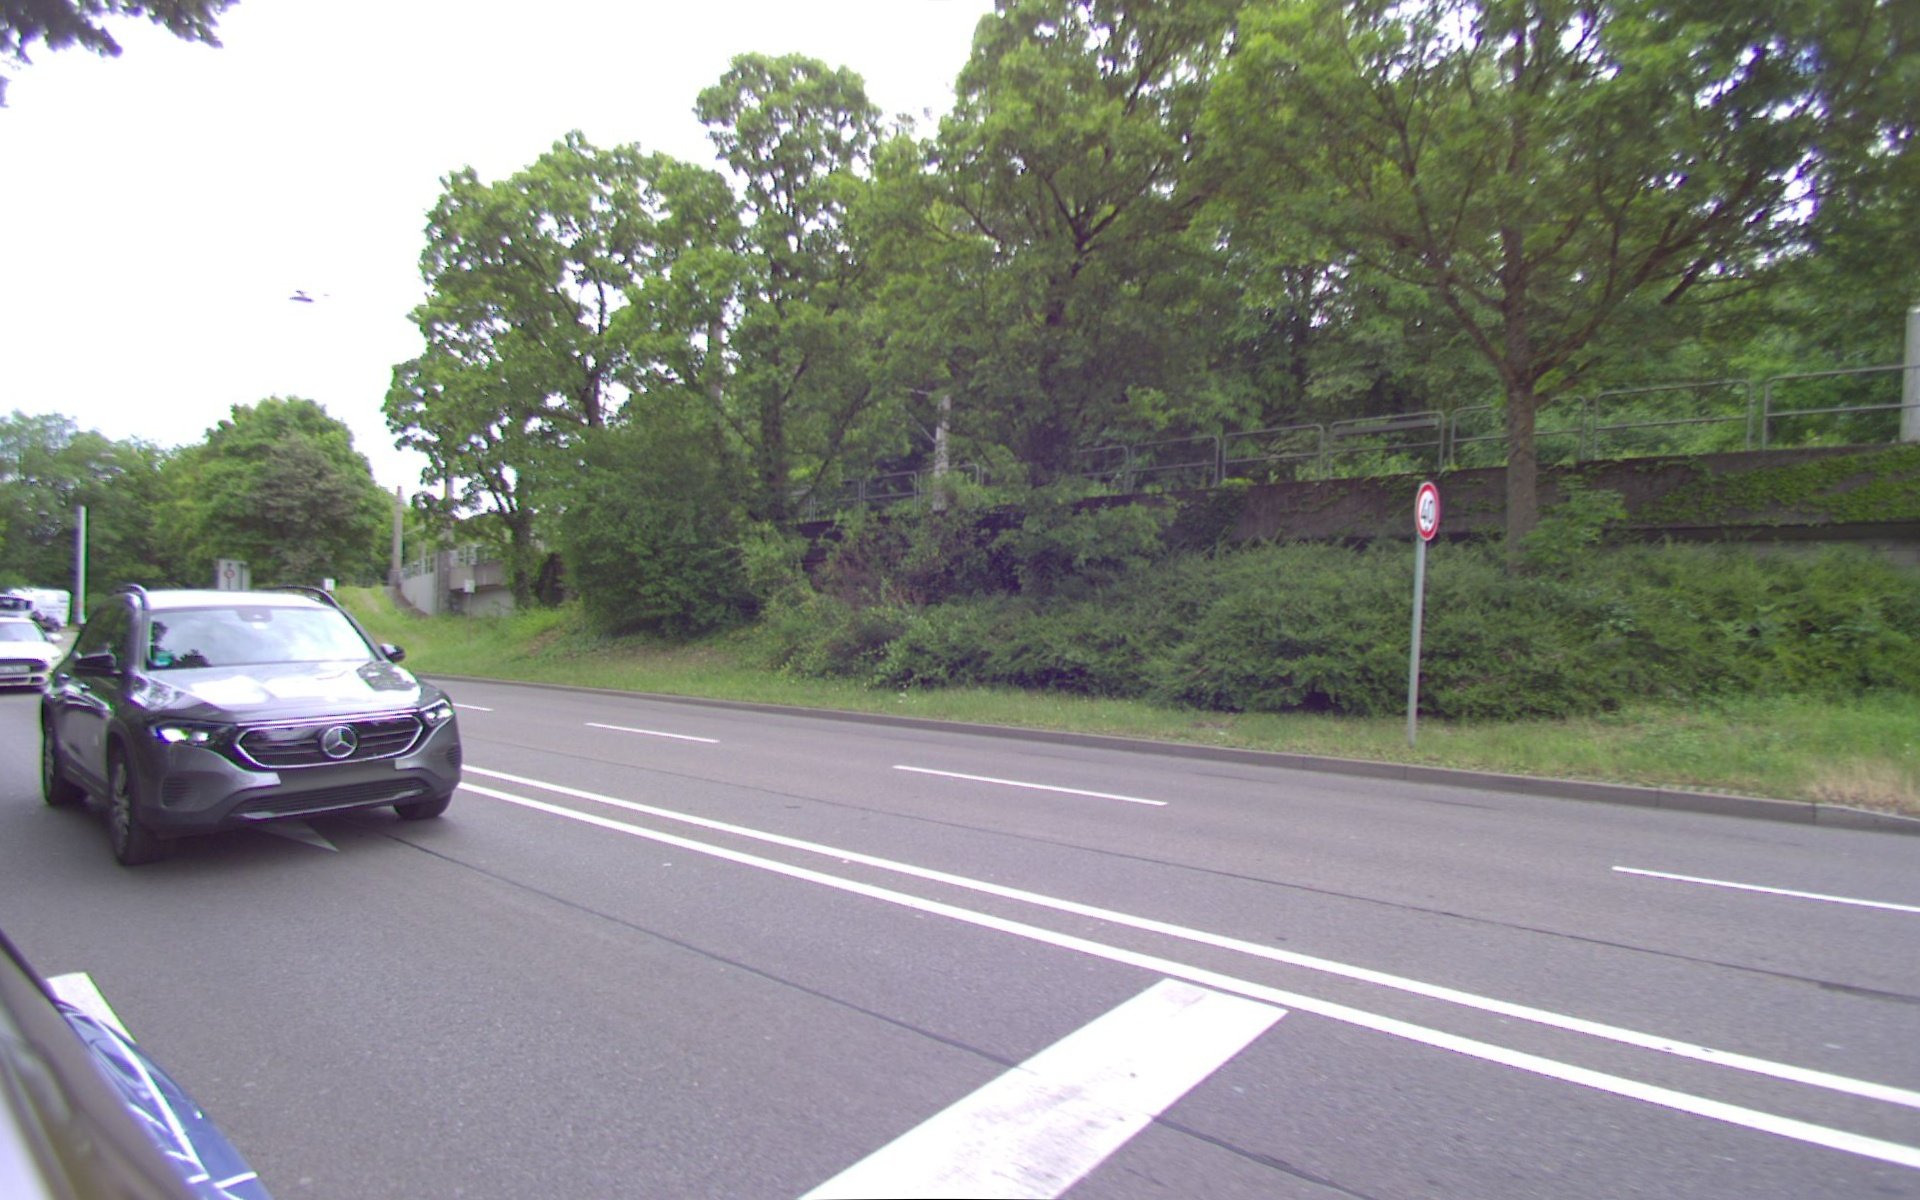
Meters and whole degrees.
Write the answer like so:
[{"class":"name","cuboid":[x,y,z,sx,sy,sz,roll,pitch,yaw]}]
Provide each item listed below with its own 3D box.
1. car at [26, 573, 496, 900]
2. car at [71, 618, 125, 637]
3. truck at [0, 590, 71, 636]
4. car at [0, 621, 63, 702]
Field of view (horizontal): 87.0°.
[{"class":"car","cuboid":[-5.222,0.733,7.304,4.356,1.664,1.830,-1,-1,42]},{"class":"car","cuboid":[-71.335,2.269,83.809,1.727,1.372,4.021,4,-4,-15]},{"class":"truck","cuboid":[-68.930,1.001,74.734,2.164,3.180,6.670,2,-3,-16]},{"class":"car","cuboid":[-18.575,1.129,19.367,3.731,1.434,1.666,-1,-1,41]}]
